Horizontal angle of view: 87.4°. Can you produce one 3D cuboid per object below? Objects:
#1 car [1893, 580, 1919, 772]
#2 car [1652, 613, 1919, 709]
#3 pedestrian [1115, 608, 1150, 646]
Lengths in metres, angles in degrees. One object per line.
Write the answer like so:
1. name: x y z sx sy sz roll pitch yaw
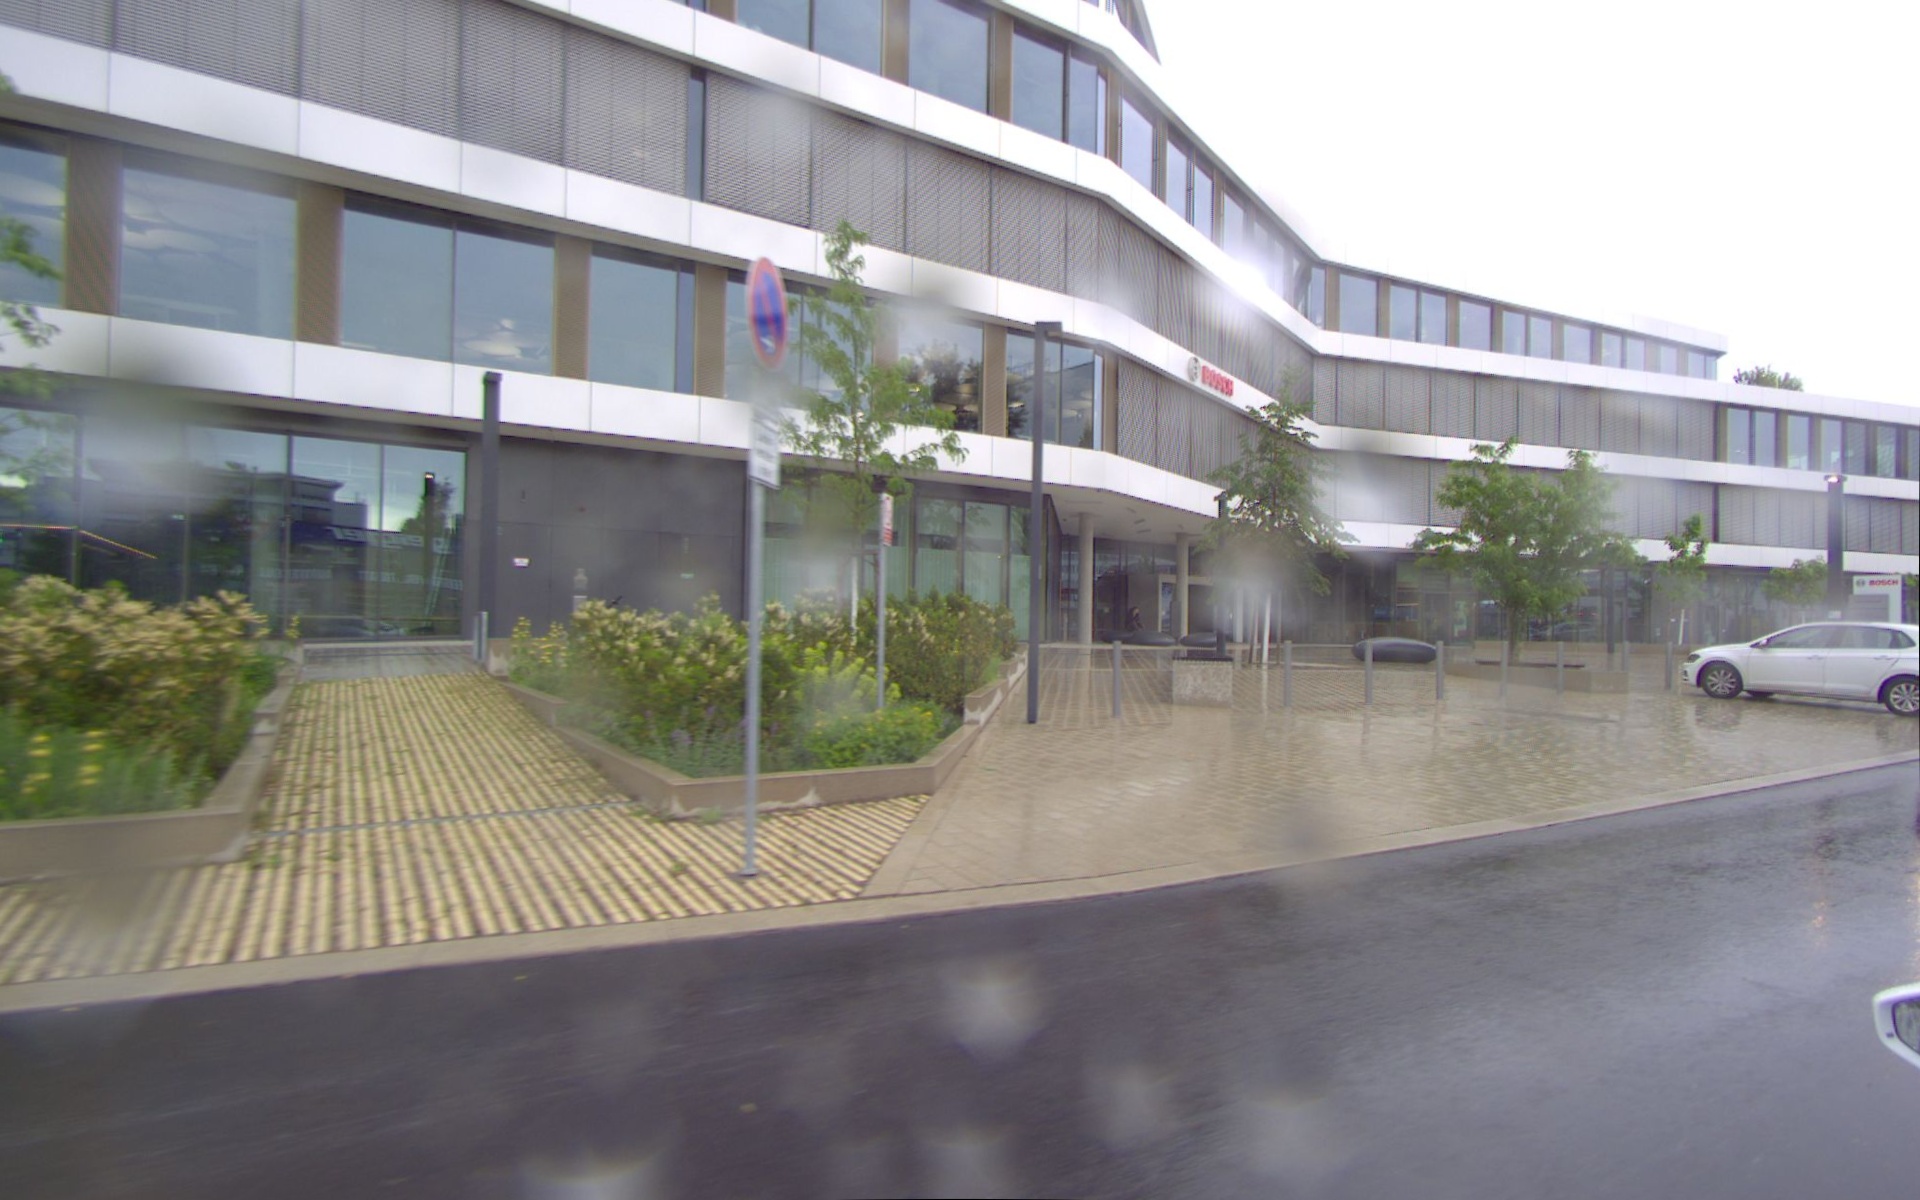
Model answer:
1. car: 11.718 0.780 10.300 4.925 1.842 1.992 1 -1 -33
2. car: 14.519 0.963 17.265 1.876 1.442 3.909 1 -1 -30
3. pedestrian: 6.399 1.005 37.271 0.883 1.332 1.059 5 2 32
